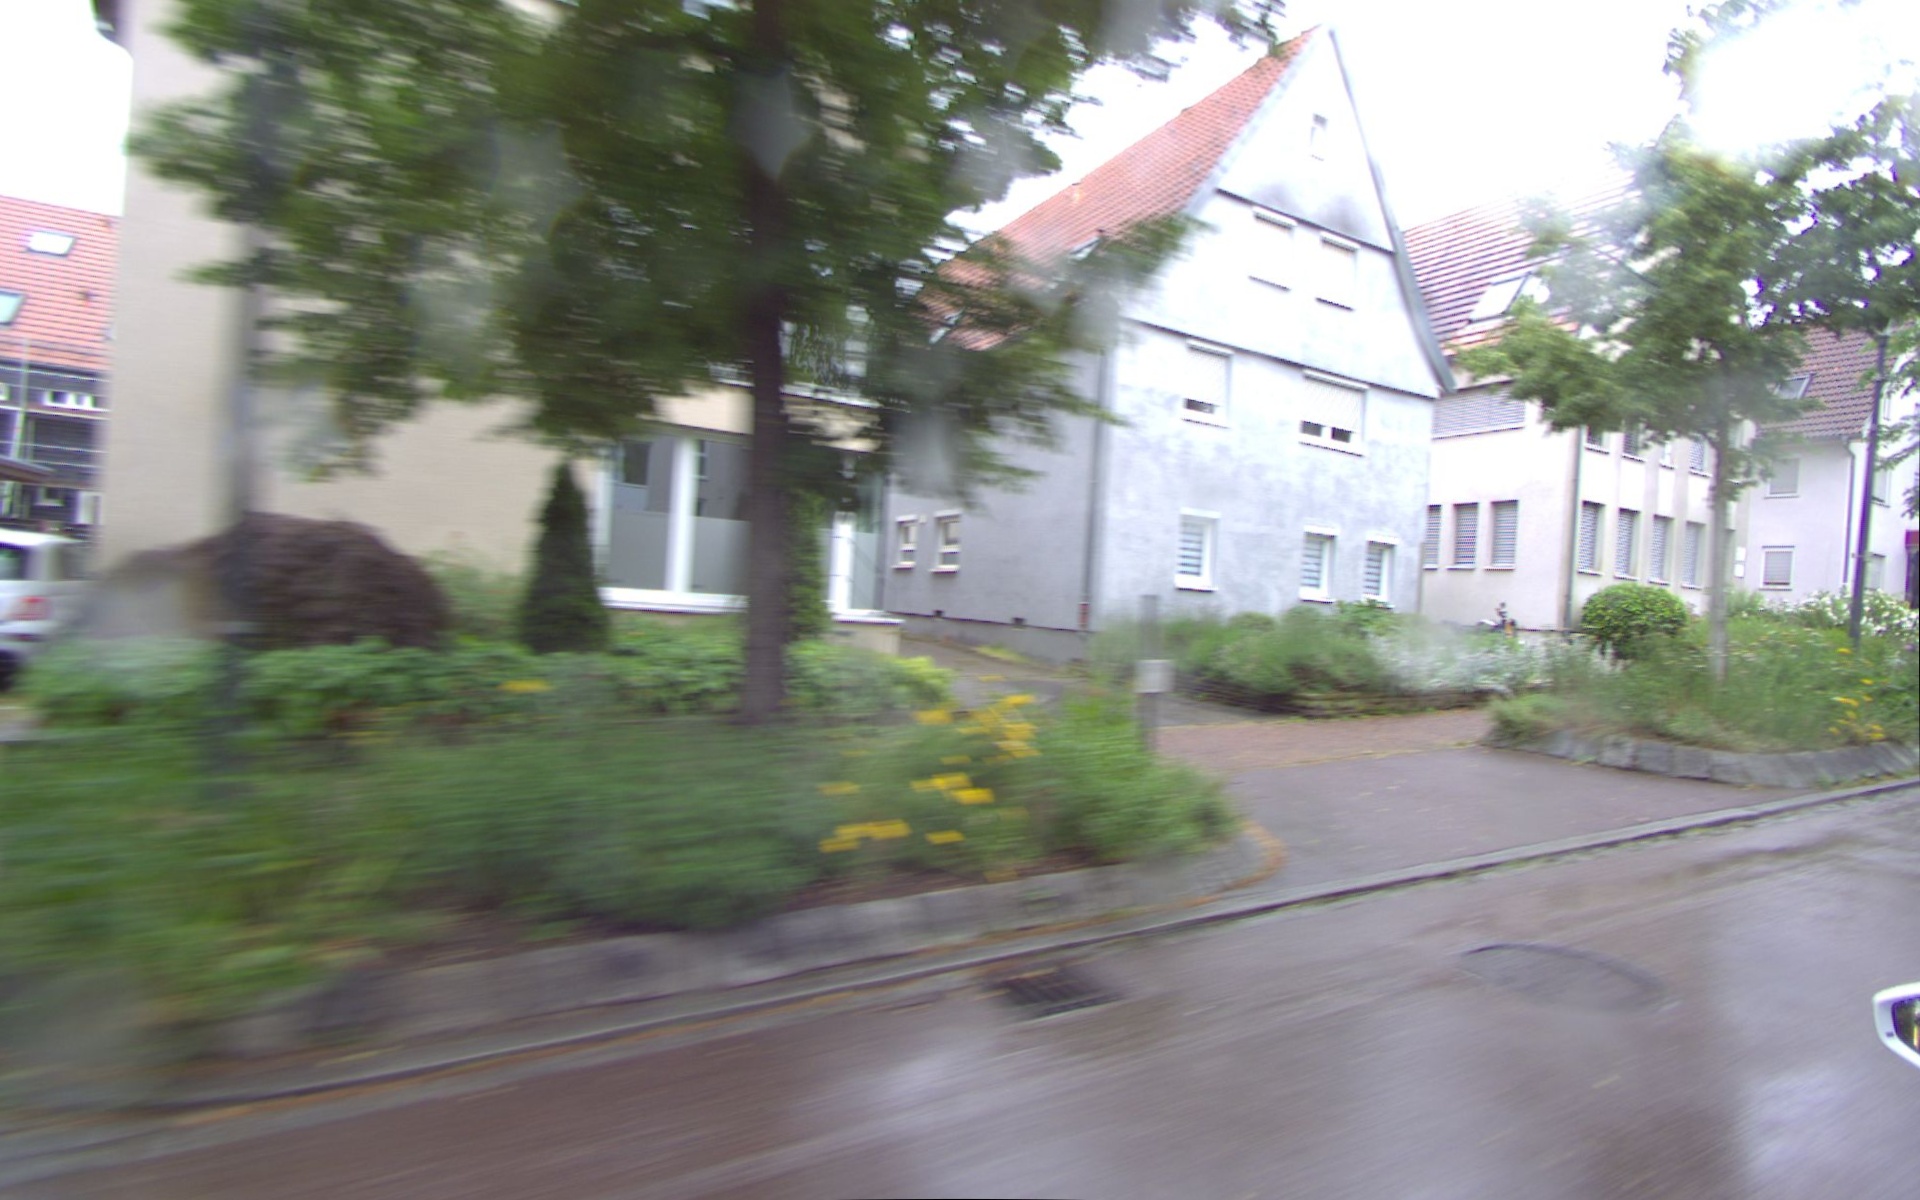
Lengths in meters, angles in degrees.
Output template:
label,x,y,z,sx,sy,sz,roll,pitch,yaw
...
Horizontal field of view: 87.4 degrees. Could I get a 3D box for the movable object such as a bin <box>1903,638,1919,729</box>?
label,x,y,z,sx,sy,sz,roll,pitch,yaw
movable object such as a bin,12.353,1.058,12.584,0.557,1.126,0.608,0,1,-28

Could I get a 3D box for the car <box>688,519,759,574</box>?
label,x,y,z,sx,sy,sz,roll,pitch,yaw
car,-8.882,-1.989,37.544,1.785,1.882,3.974,1,2,-25

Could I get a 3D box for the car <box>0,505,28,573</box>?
label,x,y,z,sx,sy,sz,roll,pitch,yaw
car,-23.768,-1.485,22.437,3.947,1.512,1.761,2,3,-26

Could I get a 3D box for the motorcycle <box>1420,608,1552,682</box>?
label,x,y,z,sx,sy,sz,roll,pitch,yaw
motorcycle,9.507,0.781,18.237,0.808,1.177,1.973,1,2,-29

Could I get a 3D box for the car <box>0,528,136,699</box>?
label,x,y,z,sx,sy,sz,roll,pitch,yaw
car,-10.312,0.034,10.837,1.618,1.497,3.552,1,4,-30
